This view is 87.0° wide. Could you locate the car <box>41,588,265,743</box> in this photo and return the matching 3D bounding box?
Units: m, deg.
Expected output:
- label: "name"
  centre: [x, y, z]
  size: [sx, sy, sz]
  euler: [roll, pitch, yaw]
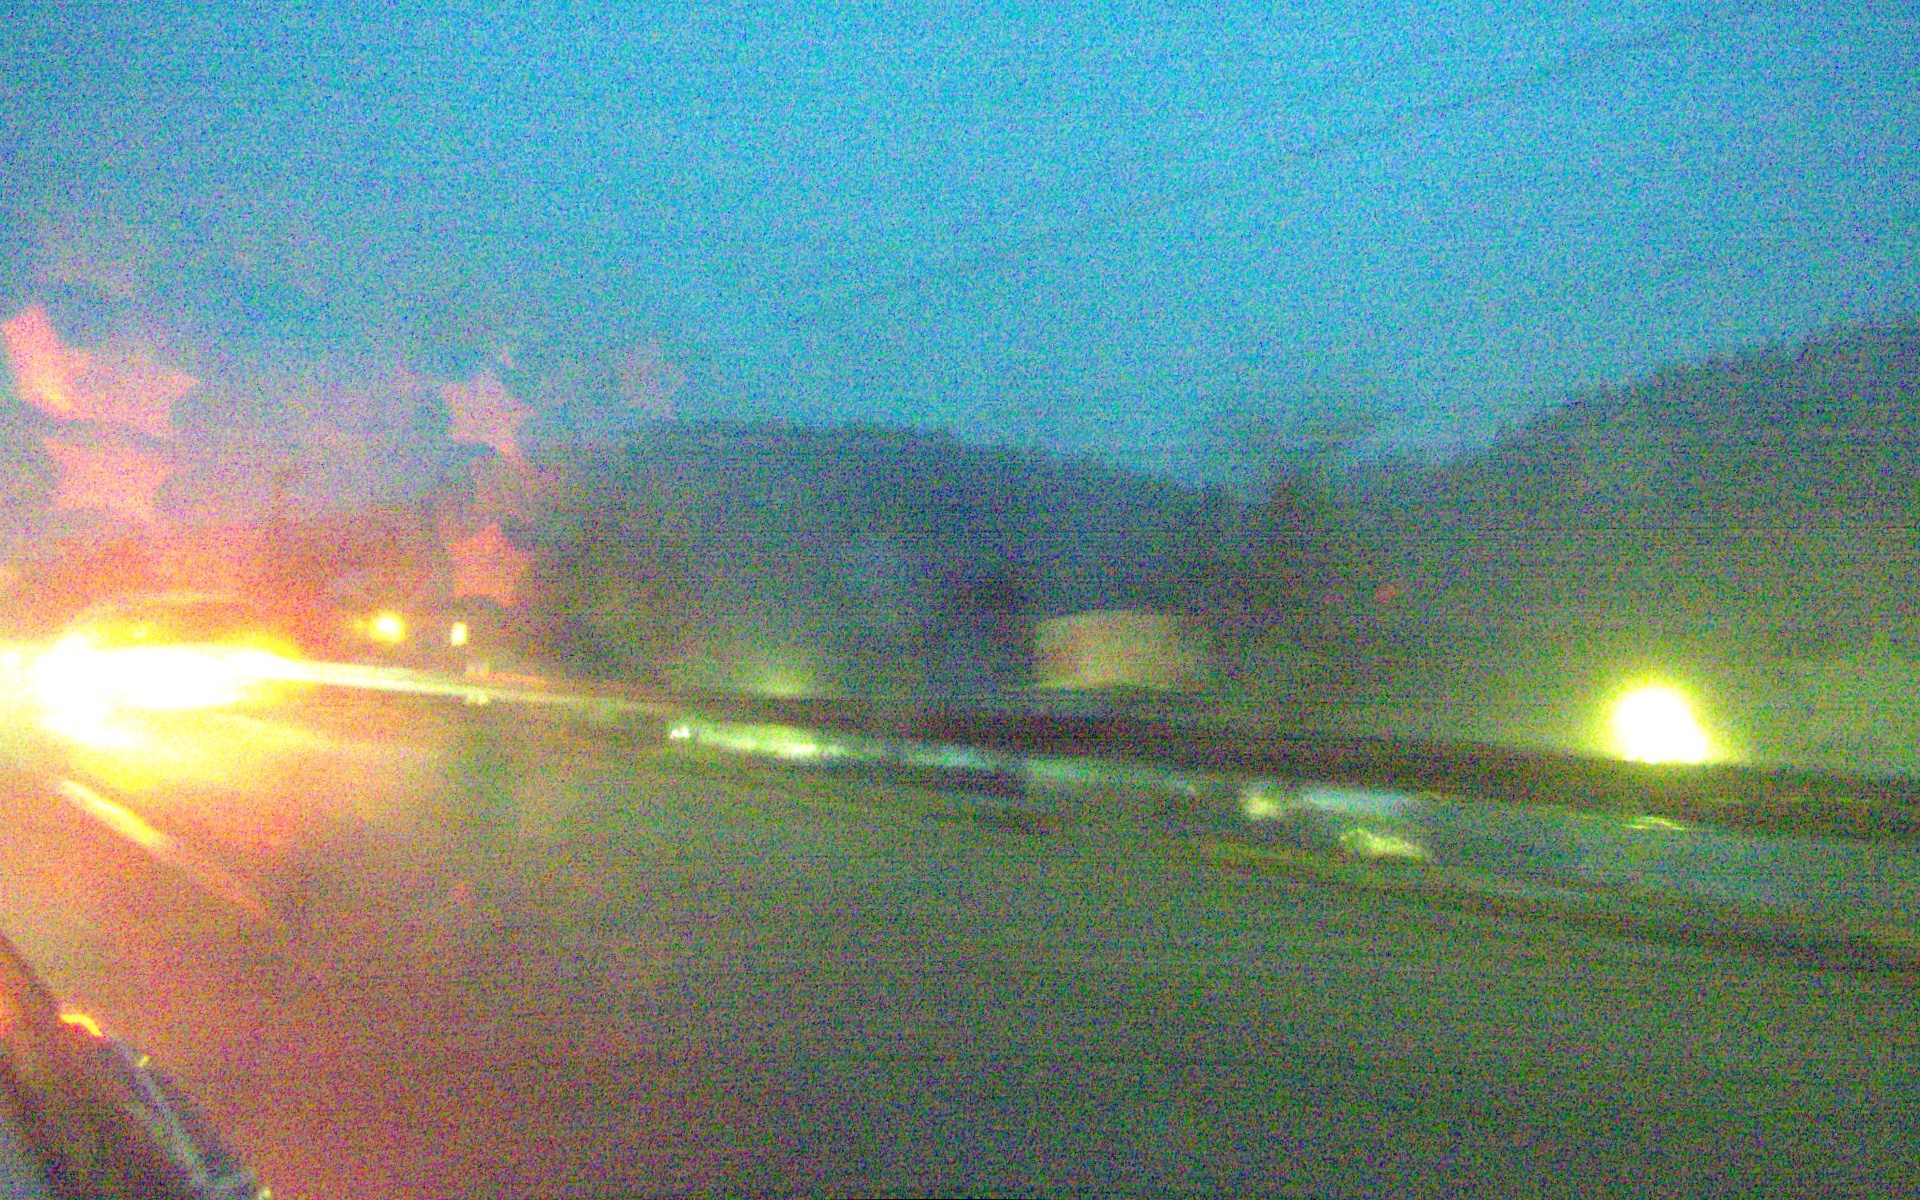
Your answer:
- label: "car"
  centre: [-11.357, 0.799, 14.143]
  size: [4.159, 1.857, 1.761]
  euler: [-1, 0, 41]
